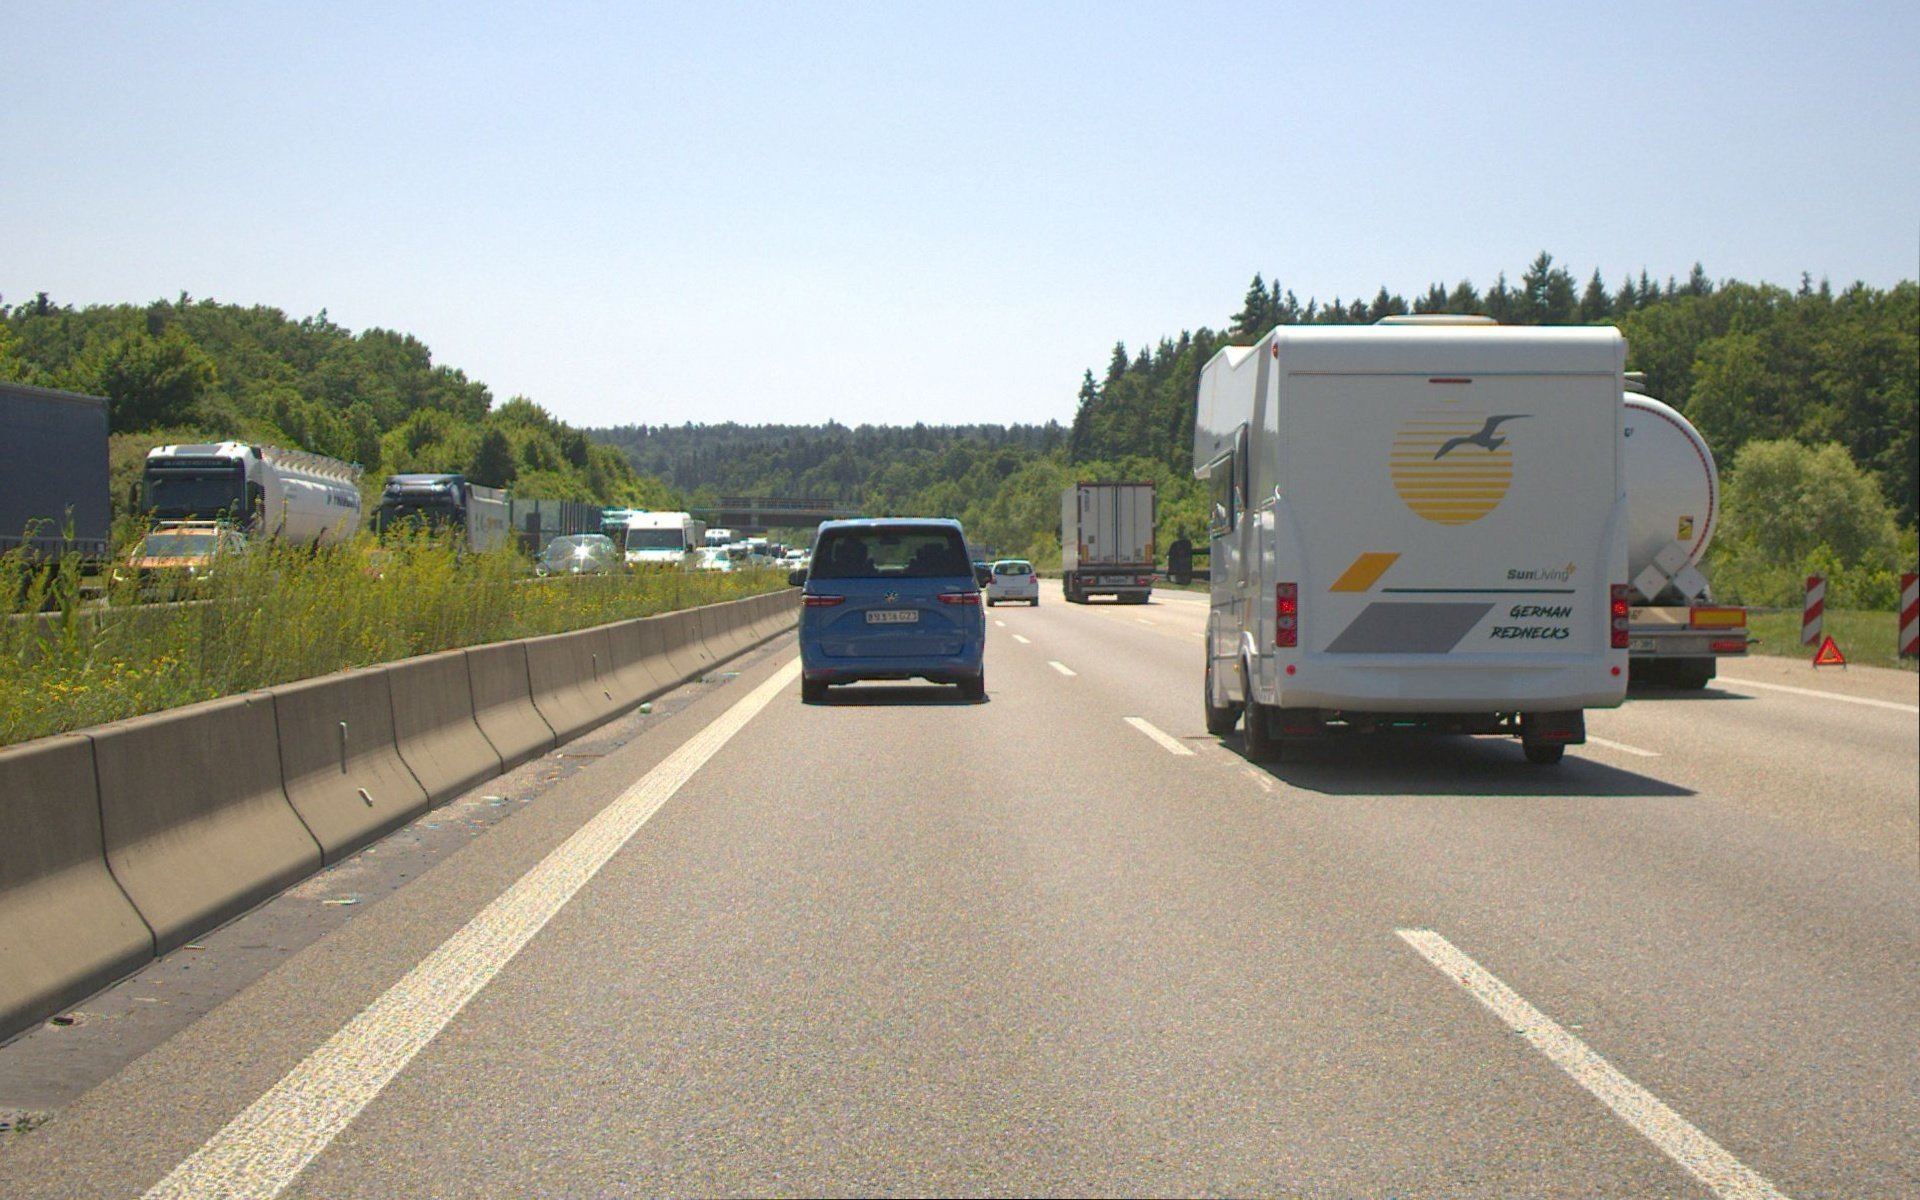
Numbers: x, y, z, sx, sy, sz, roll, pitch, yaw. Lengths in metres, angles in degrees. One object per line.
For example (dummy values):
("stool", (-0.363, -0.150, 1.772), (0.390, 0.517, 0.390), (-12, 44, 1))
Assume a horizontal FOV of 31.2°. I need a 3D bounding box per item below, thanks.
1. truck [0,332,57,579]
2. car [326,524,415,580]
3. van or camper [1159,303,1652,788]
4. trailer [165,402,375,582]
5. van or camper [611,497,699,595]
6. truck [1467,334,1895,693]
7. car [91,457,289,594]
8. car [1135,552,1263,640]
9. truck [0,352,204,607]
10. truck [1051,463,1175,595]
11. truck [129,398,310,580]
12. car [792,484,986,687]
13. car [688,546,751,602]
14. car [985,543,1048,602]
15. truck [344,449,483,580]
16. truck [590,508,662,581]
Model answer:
("truck", (-17.013, -2.336, 54.029), (3.509, 3.896, 8.146), (2, 0, -1))
("car", (-16.908, -1.371, 98.709), (1.796, 1.533, 4.584), (-1, 0, -1))
("van or camper", (3.043, -0.432, 25.458), (2.603, 3.068, 7.183), (0, 1, -1))
("trailer", (-16.787, -2.484, 84.652), (2.679, 3.936, 13.245), (3, 0, -2))
("van or camper", (-9.596, -1.663, 108.684), (1.993, 2.867, 7.641), (3, 0, 0))
("truck", (7.918, -0.979, 39.025), (2.928, 3.563, 8.527), (1, 1, 0))
("car", (-12.447, -1.178, 55.906), (2.085, 2.056, 5.059), (2, 0, -1))
("car", (4.172, -0.073, 60.469), (1.909, 1.470, 4.000), (1, 0, -1))
("truck", (-17.129, -2.065, 62.559), (3.578, 4.079, 15.007), (1, 1, -1))
("truck", (5.138, -2.350, 117.282), (3.487, 4.156, 8.642), (3, 0, -1))
("truck", (-16.630, -2.414, 77.577), (2.692, 3.865, 6.317), (2, 0, -1))
("car", (-0.734, -0.154, 36.269), (1.909, 2.007, 4.000), (1, 0, -1))
("car", (-9.306, -1.007, 133.178), (1.993, 2.007, 5.163), (3, 0, 0))
("car", (1.804, -0.883, 111.059), (1.818, 1.788, 3.894), (3, 0, -1))
("truck", (-17.268, -2.664, 109.072), (3.455, 3.864, 5.445), (3, 0, -1))
("truck", (-18.650, -3.062, 192.705), (2.991, 3.790, 12.164), (3, 0, -2))
